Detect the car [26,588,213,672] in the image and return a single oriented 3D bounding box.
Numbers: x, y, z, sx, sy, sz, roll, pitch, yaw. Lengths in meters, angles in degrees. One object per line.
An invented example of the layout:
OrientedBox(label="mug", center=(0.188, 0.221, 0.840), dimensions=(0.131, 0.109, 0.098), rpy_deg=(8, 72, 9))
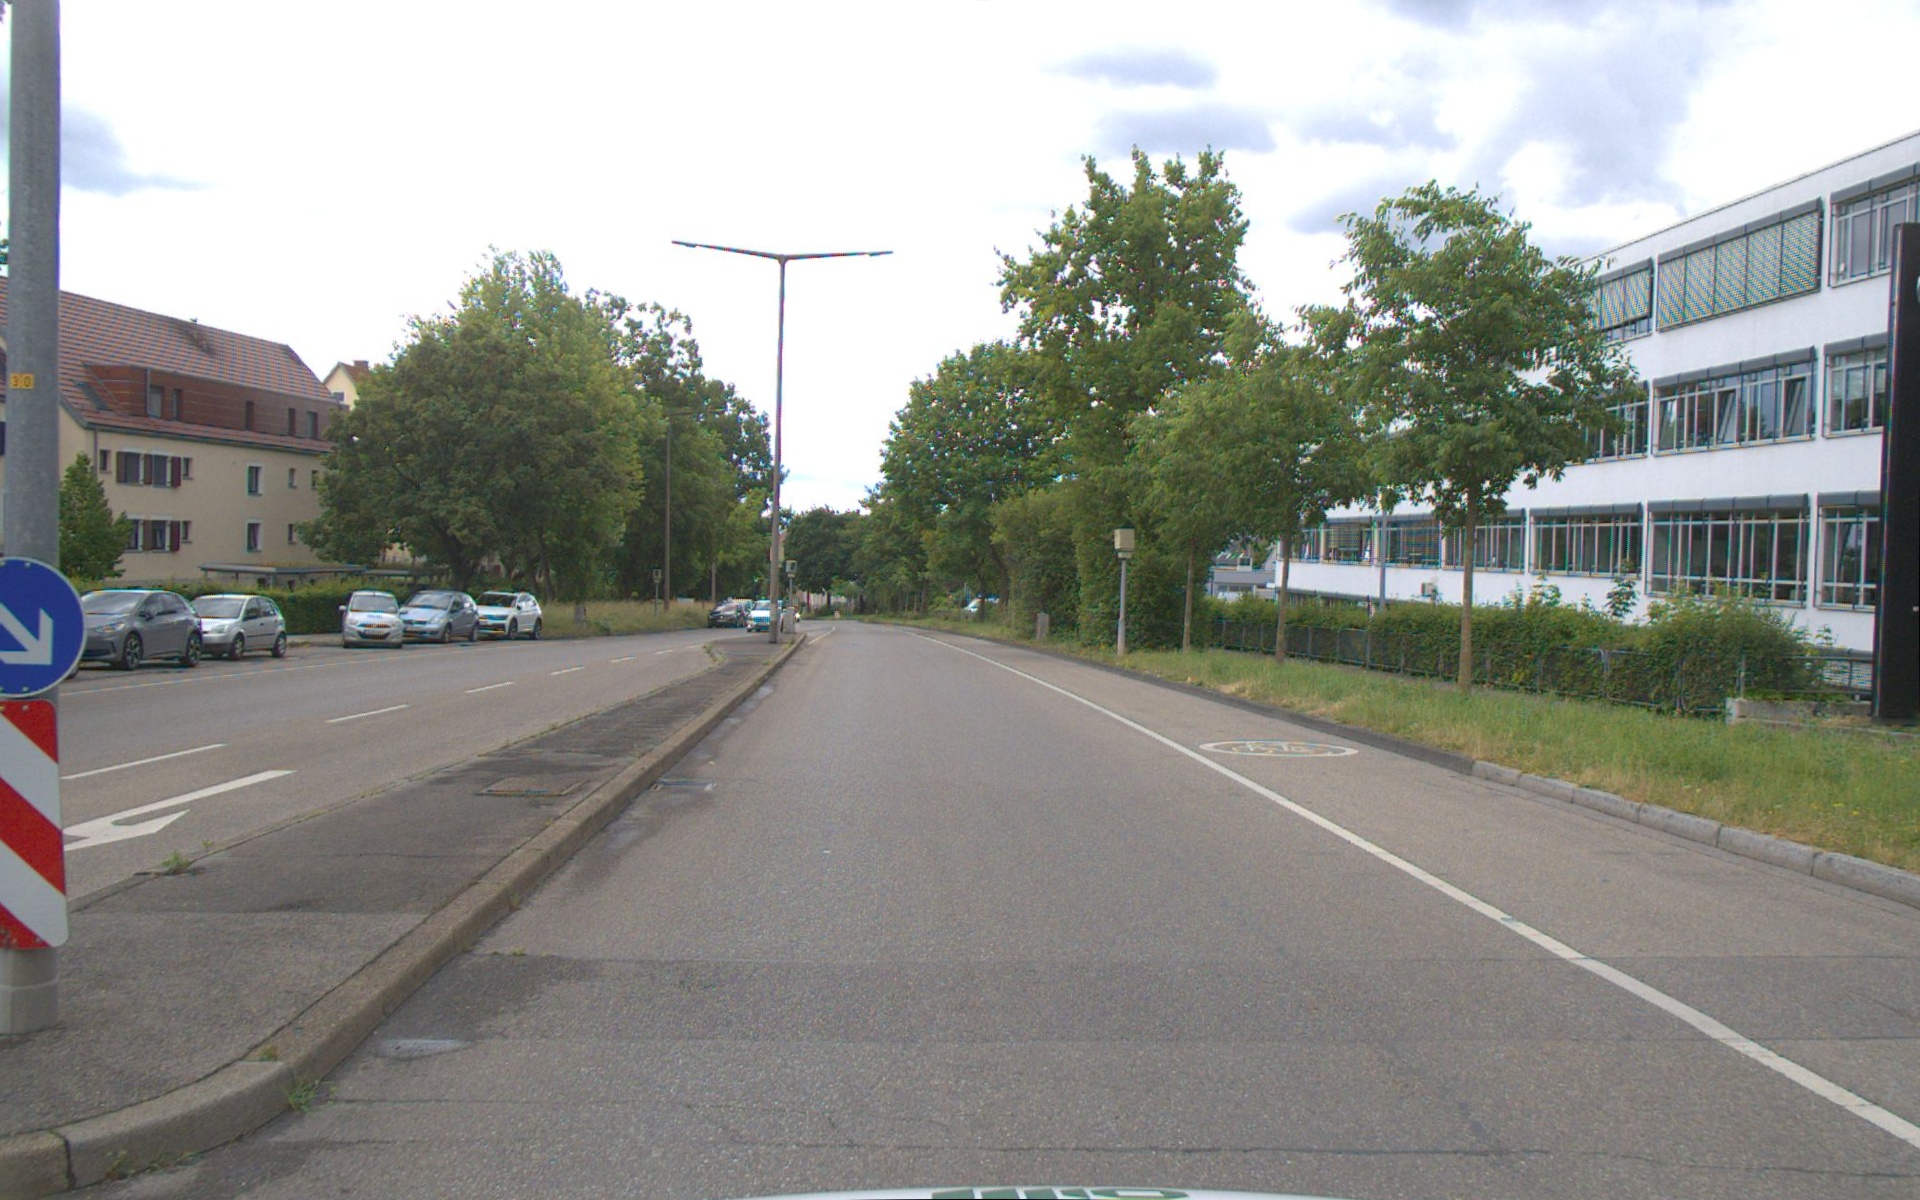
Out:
OrientedBox(label="car", center=(-16.709, 0.552, 33.106), dimensions=(1.838, 1.533, 3.998), rpy_deg=(2, 0, -3))

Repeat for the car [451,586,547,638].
OrientedBox(label="car", center=(-16.027, 0.431, 57.693), dimensions=(1.836, 1.696, 4.392), rpy_deg=(1, -1, 4))

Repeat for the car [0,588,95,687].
OrientedBox(label="car", center=(-16.183, 0.586, 27.358), dimensions=(1.838, 1.533, 4.053), rpy_deg=(2, 0, -4))

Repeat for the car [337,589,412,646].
OrientedBox(label="car", center=(-16.949, 0.481, 47.781), dimensions=(1.849, 1.533, 3.973), rpy_deg=(1, 0, -22))

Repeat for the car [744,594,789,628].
OrientedBox(label="car", center=(-9.631, 0.589, 82.465), dimensions=(1.837, 1.598, 4.337), rpy_deg=(1, -1, -2))

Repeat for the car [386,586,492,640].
OrientedBox(label="car", center=(-16.510, 0.432, 52.574), dimensions=(1.836, 1.625, 4.001), rpy_deg=(1, -1, 4))

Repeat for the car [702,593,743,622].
OrientedBox(label="car", center=(-13.899, 0.440, 96.970), dimensions=(1.837, 1.598, 4.648), rpy_deg=(1, 0, -2))

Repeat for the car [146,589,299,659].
OrientedBox(label="car", center=(-17.007, 0.511, 38.360), dimensions=(1.837, 1.533, 3.998), rpy_deg=(1, 0, -2))
